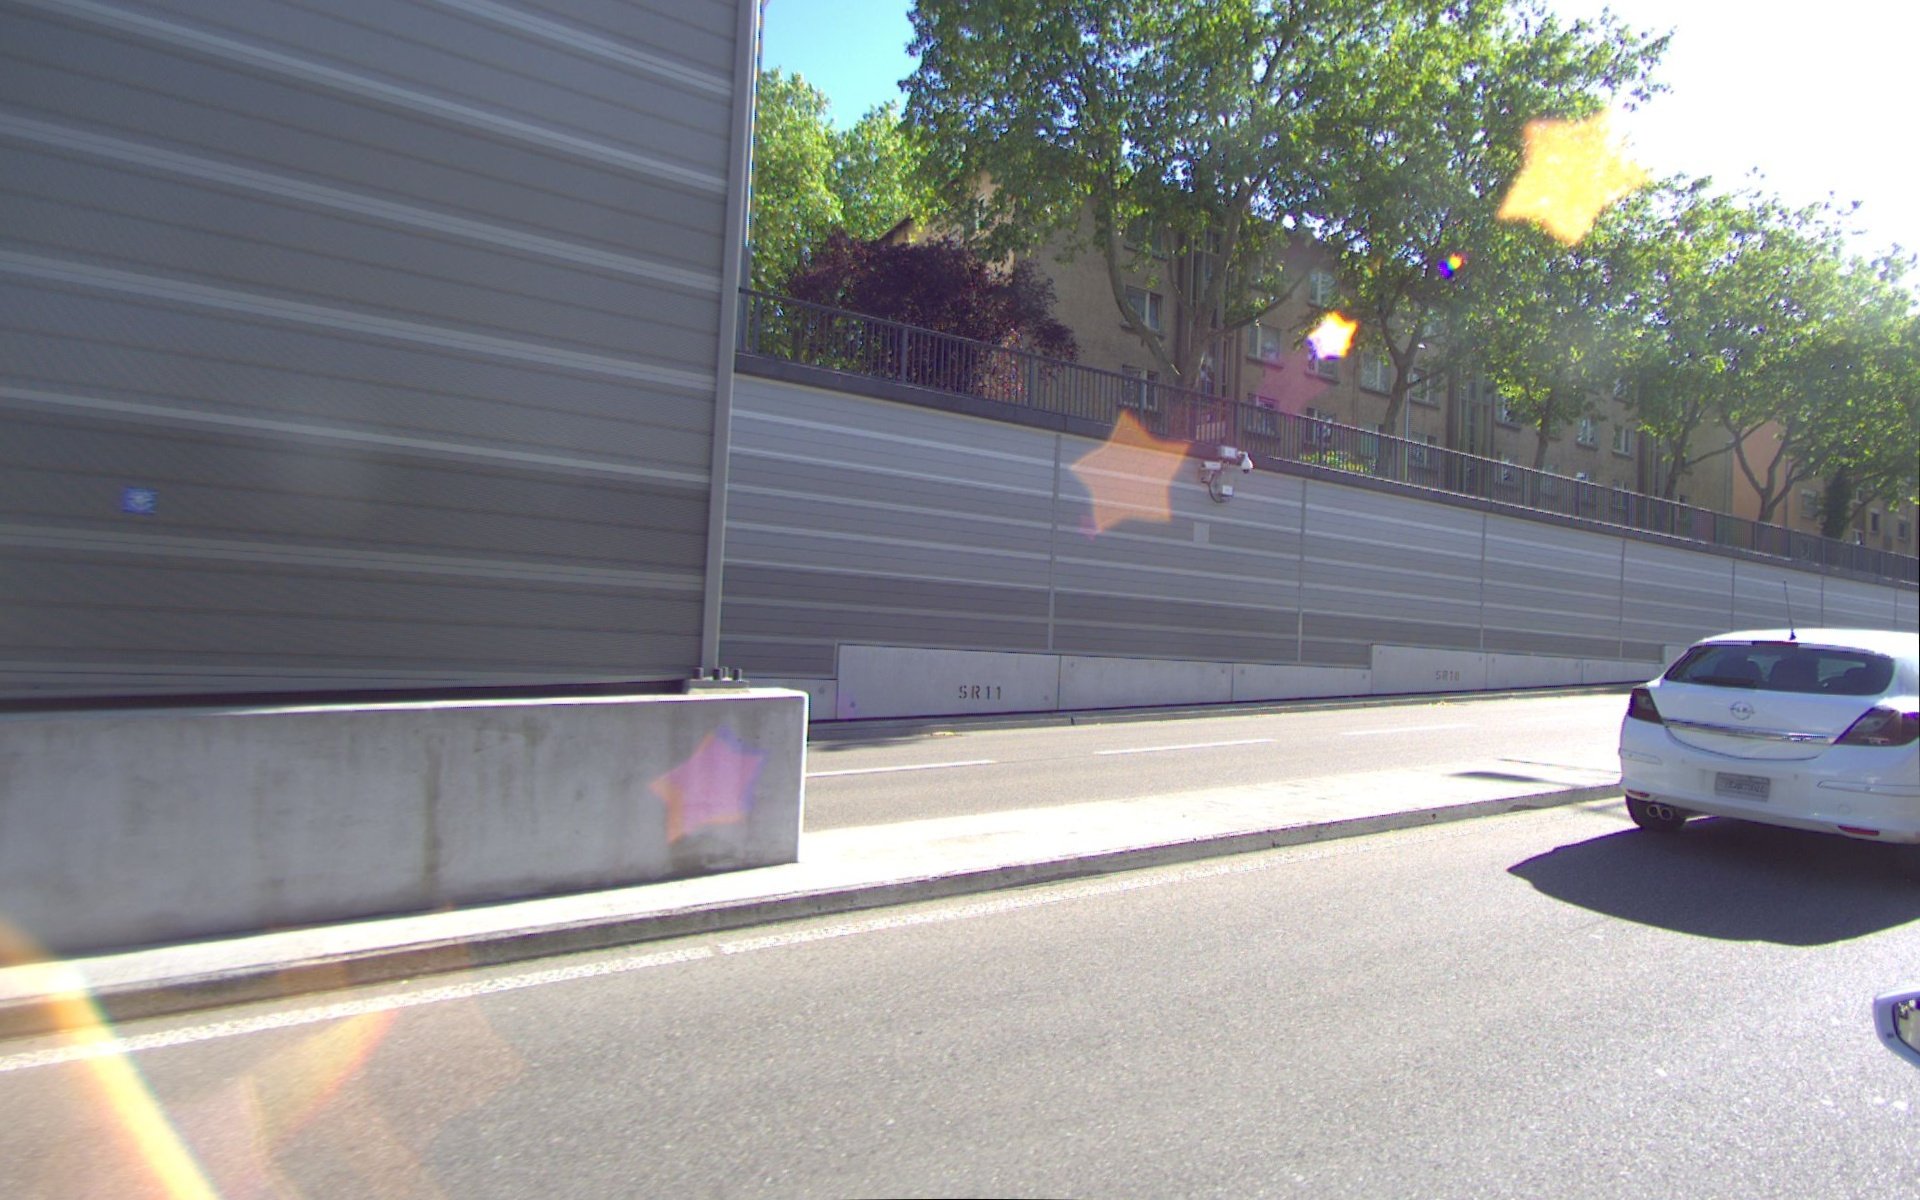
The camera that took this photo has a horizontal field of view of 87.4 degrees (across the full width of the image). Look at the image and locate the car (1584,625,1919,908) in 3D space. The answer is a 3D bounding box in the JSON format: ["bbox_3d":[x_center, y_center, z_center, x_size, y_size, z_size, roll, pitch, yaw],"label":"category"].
[{"bbox_3d":[6.164,0.943,6.893,3.807,1.422,1.611,2,-1,-31],"label":"car"}]
